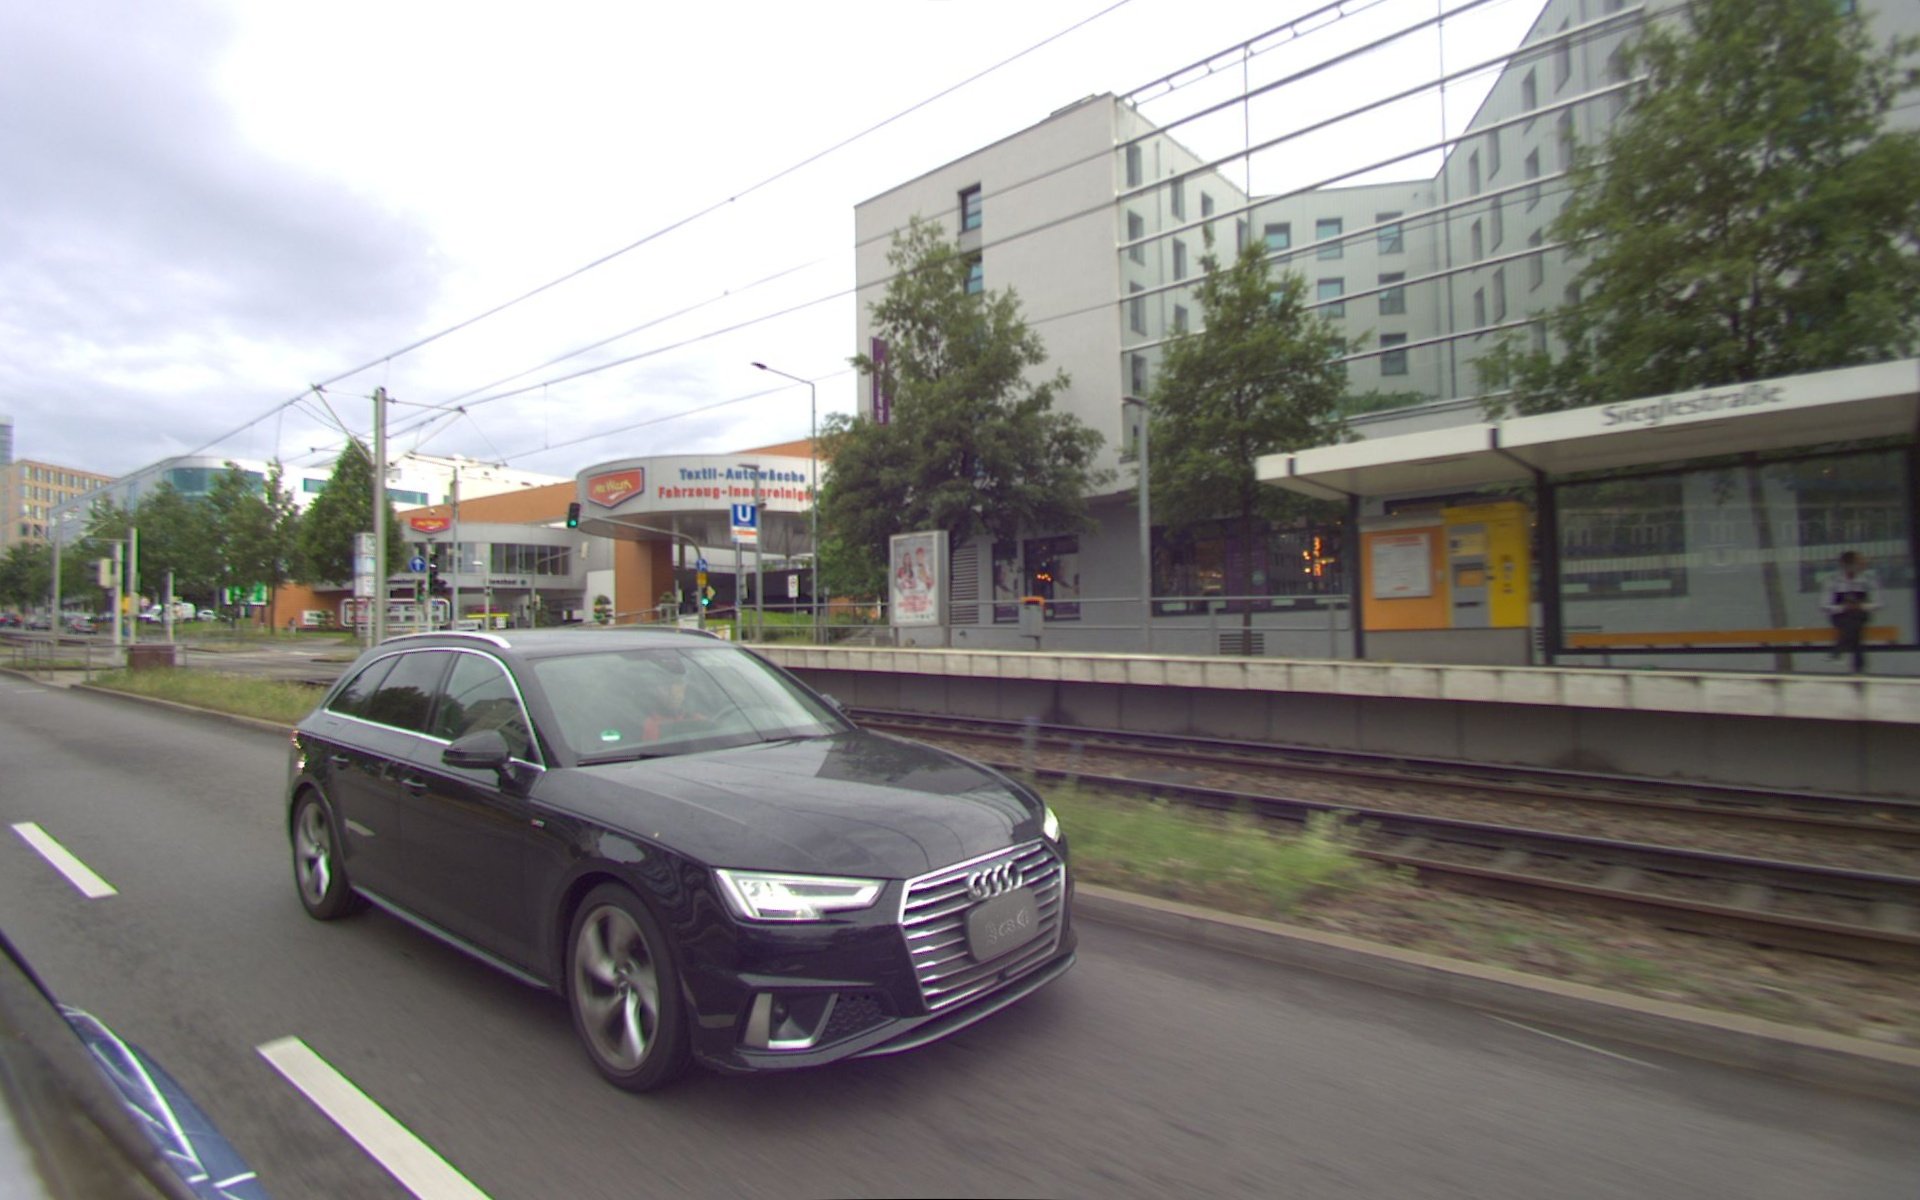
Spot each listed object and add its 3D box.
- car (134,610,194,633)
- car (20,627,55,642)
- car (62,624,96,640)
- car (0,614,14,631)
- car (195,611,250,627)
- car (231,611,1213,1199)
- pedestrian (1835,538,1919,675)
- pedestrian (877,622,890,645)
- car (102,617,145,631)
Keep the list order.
[{"bbox_3d":[-98.670,2.621,125.522,2.264,2.648,5.444,0,0,22],"label":"car"},{"bbox_3d":[-93.055,3.449,102.051,4.382,1.438,1.835,-1,-3,38],"label":"car"},{"bbox_3d":[-79.255,2.869,91.040,3.775,1.434,1.711,-1,-2,39],"label":"car"},{"bbox_3d":[-106.556,2.488,112.128,4.385,1.788,1.973,-1,-2,40],"label":"car"},{"bbox_3d":[-95.556,2.455,131.194,2.272,1.940,5.423,0,0,33],"label":"car"},{"bbox_3d":[-1.492,0.797,4.563,4.824,1.445,1.772,-1,-1,40],"label":"car"},{"bbox_3d":[9.346,0.076,10.262,0.684,1.310,0.951,-1,-2,41],"label":"pedestrian"},{"bbox_3d":[-6.848,3.025,90.549,0.775,2.045,0.877,-1,-1,29],"label":"pedestrian"},{"bbox_3d":[-110.829,3.193,134.150,1.916,1.674,3.956,-1,1,32],"label":"car"}]
